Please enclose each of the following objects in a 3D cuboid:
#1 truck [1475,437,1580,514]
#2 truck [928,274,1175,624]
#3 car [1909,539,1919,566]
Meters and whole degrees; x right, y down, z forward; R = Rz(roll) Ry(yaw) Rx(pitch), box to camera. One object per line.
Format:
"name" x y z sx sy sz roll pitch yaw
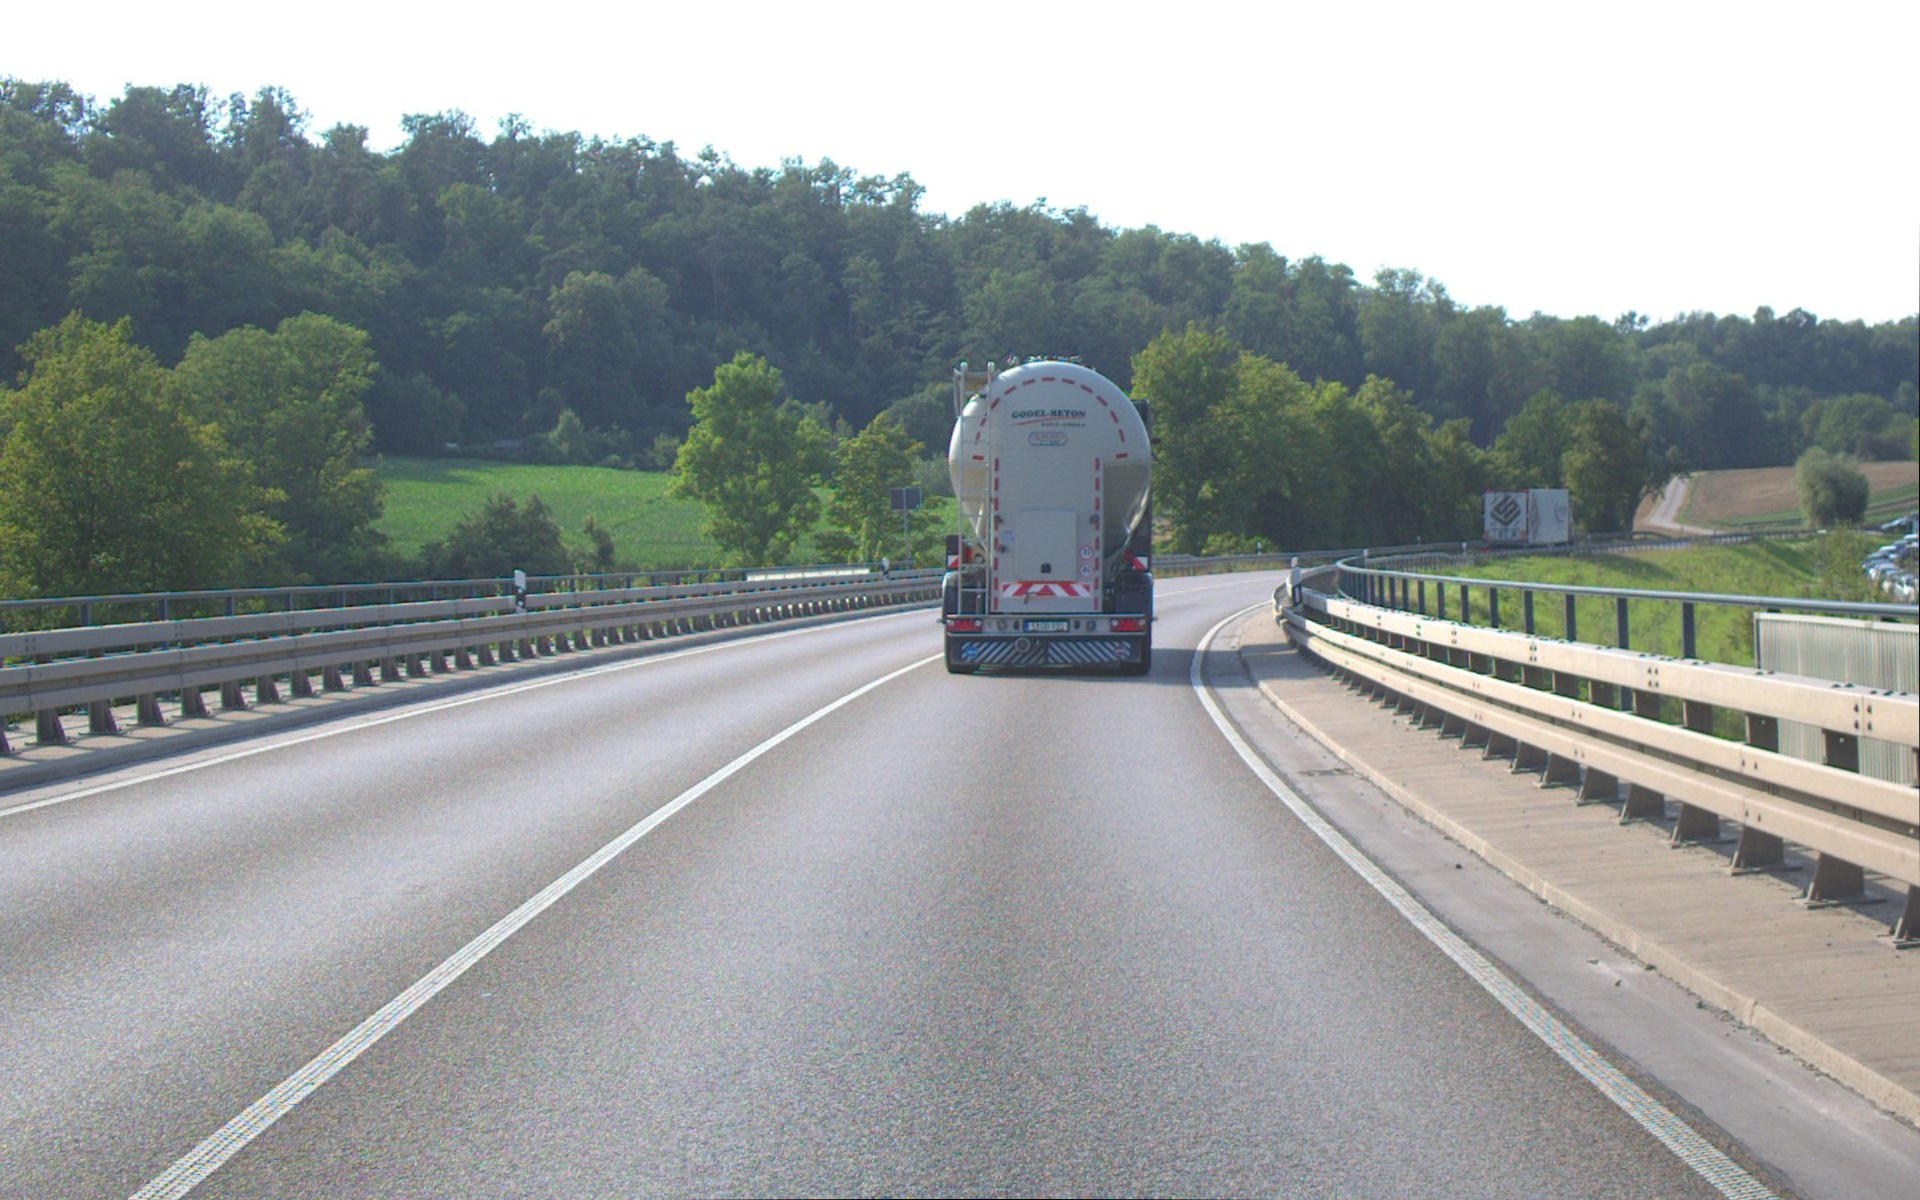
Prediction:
"truck" 33.038 -7.288 199.604 3.187 4.213 13.159 0 3 22
"truck" 1.330 -1.977 47.432 2.893 4.128 13.172 1 2 2
"car" 57.610 -2.825 203.324 1.892 1.477 4.783 -4 3 4
